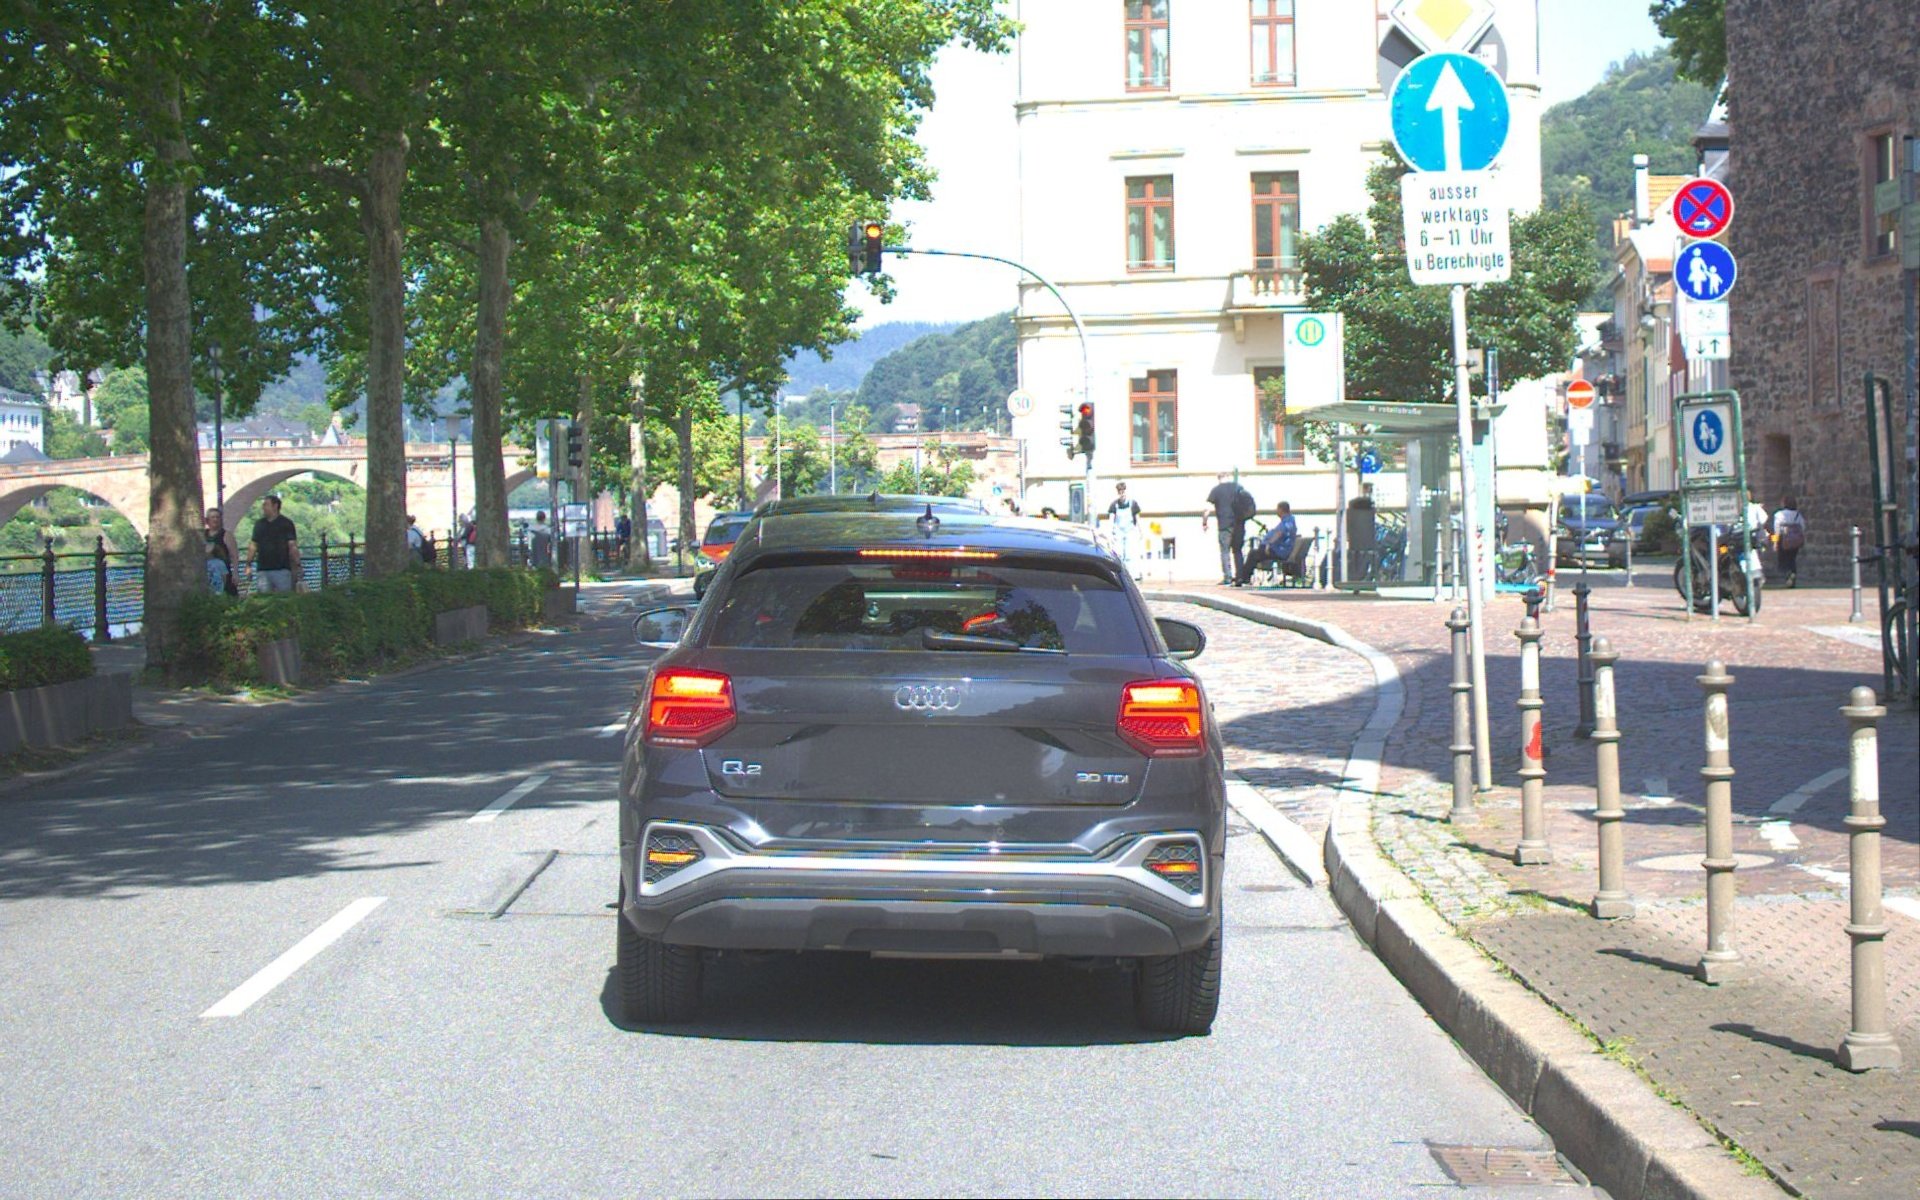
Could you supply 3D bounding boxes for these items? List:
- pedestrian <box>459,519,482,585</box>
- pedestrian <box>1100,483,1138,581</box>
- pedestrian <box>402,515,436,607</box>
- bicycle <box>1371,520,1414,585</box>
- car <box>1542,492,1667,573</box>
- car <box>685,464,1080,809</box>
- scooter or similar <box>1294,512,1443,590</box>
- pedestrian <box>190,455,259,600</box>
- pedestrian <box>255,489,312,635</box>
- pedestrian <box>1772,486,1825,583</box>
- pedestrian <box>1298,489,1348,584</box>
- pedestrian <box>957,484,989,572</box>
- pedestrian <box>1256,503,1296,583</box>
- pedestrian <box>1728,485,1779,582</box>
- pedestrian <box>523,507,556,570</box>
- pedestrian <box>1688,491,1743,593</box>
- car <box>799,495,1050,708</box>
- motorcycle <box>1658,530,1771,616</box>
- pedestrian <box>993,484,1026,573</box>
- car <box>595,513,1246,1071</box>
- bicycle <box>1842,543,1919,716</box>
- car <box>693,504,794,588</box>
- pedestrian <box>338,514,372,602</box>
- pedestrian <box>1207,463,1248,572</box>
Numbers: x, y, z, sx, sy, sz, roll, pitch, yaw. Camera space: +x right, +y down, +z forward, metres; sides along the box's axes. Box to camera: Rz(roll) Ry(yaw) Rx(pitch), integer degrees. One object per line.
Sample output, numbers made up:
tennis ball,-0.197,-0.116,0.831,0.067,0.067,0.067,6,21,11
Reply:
pedestrian,-10.518,-1.036,73.887,0.409,1.420,0.457,1,1,-4
pedestrian,2.531,-1.081,54.810,0.557,1.552,0.660,1,1,1
pedestrian,-9.724,-0.697,61.788,0.517,1.632,0.439,-3,1,-7
bicycle,6.610,-0.733,52.560,0.450,0.971,1.400,1,1,0
car,14.427,-1.520,77.115,1.993,1.710,4.000,1,1,0
car,-0.369,0.124,18.103,1.801,1.557,3.716,-2,1,0
scooter or similar,5.256,-0.638,44.318,1.845,0.960,0.429,1,1,-1
pedestrian,-8.854,-0.871,41.405,0.645,1.711,0.665,-2,1,-3
pedestrian,-8.156,-0.462,41.470,0.563,1.735,0.665,-1,1,-3
pedestrian,13.259,-1.032,54.378,0.658,1.512,0.627,1,1,1
pedestrian,5.990,-1.054,56.805,0.747,1.552,0.588,1,1,1
pedestrian,0.234,-1.286,61.331,0.557,1.552,0.660,1,1,1
pedestrian,4.842,-0.876,52.748,0.546,1.197,0.522,1,1,1
pedestrian,12.548,-1.049,54.382,0.658,1.512,0.548,1,1,1
pedestrian,-8.600,-1.257,70.339,0.591,1.274,0.525,1,1,0
pedestrian,11.187,-0.856,50.929,0.658,1.488,0.548,1,1,1
car,-0.264,-0.039,27.086,1.801,1.517,3.716,-2,1,0
motorcycle,7.630,-0.286,34.850,0.483,0.815,2.280,-2,1,-3
pedestrian,0.871,-1.259,60.740,0.557,1.552,0.660,1,1,1
car,-0.158,0.480,11.175,1.748,1.489,3.629,1,2,-2
bicycle,5.883,0.160,21.450,0.496,1.027,2.050,0,1,7
car,-4.198,-1.073,67.093,1.615,1.517,3.476,-2,1,1
pedestrian,-10.797,-0.748,61.365,0.497,1.532,0.680,-3,1,-7
pedestrian,4.051,-1.247,52.139,0.557,1.627,0.660,1,1,1
